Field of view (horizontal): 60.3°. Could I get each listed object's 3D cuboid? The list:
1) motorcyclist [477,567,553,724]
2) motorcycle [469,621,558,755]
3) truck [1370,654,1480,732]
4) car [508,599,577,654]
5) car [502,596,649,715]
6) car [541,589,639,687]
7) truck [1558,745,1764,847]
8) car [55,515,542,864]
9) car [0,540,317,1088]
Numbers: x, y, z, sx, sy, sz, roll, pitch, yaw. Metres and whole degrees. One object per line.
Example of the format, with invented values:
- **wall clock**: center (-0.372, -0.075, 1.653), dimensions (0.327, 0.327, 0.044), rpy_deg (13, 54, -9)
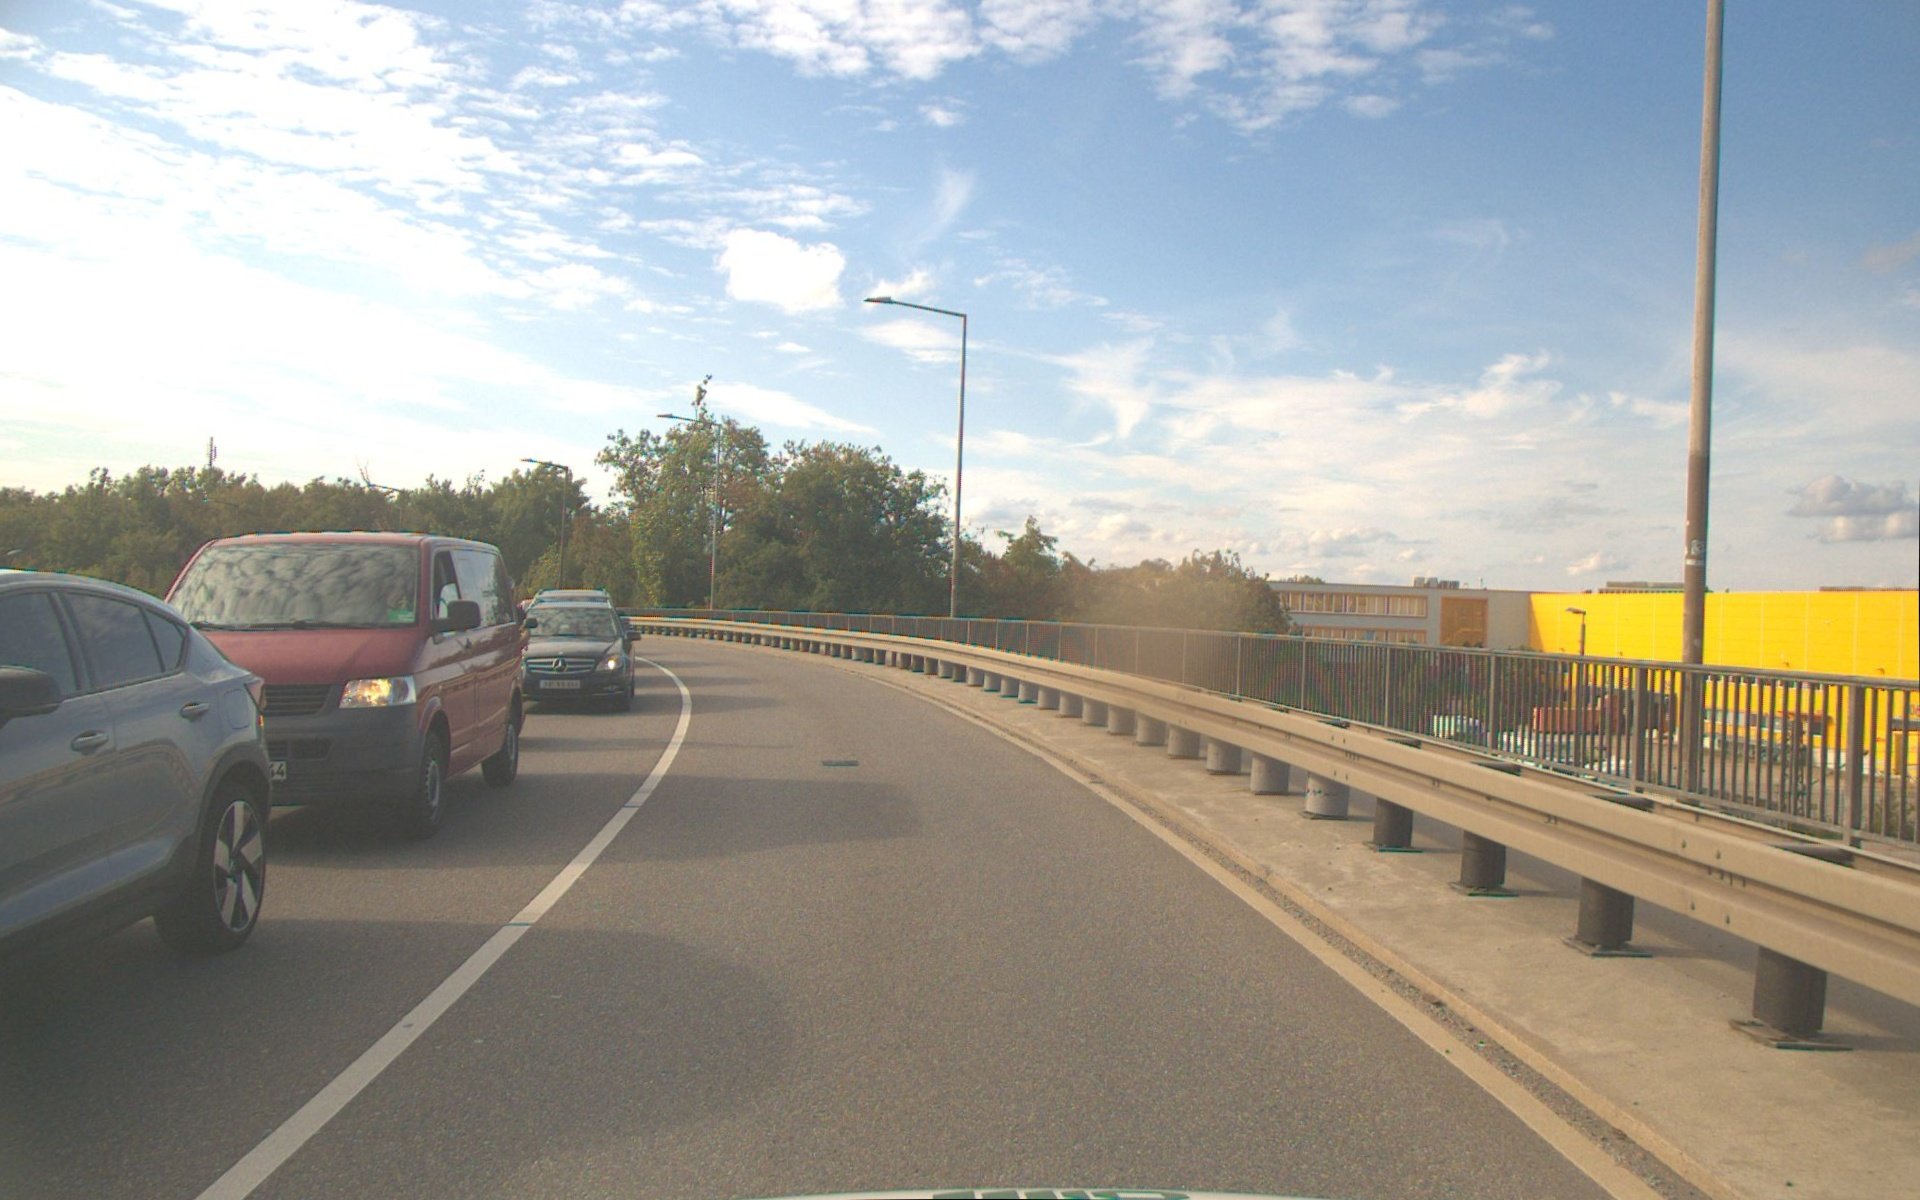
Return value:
- **motorcyclist**: center (-4.604, 0.455, 17.161), dimensions (0.608, 1.580, 0.936), rpy_deg (0, 0, -7)
- **motorcycle**: center (-4.593, 0.871, 17.100), dimensions (0.608, 1.274, 1.790), rpy_deg (0, 0, -6)
- **truck**: center (32.847, 6.447, 117.450), dimensions (3.560, 4.940, 11.260), rpy_deg (0, 0, -7)
- **car**: center (-12.315, 0.759, 48.685), dimensions (1.714, 1.527, 4.056), rpy_deg (0, 0, -18)
- **car**: center (-5.330, 0.704, 23.378), dimensions (1.800, 1.491, 4.506), rpy_deg (-1, 0, -10)
- **car**: center (-6.824, 0.657, 30.715), dimensions (1.652, 1.678, 4.286), rpy_deg (0, 0, -12)
- **truck**: center (31.979, 8.913, 75.625), dimensions (8.424, 4.162, 2.664), rpy_deg (0, 1, -6)
- **car**: center (-4.317, 0.489, 11.730), dimensions (1.969, 1.936, 4.861), rpy_deg (-1, 0, -6)
- **car**: center (-3.761, 0.647, 5.515), dimensions (1.717, 1.637, 4.311), rpy_deg (-1, 0, -3)
